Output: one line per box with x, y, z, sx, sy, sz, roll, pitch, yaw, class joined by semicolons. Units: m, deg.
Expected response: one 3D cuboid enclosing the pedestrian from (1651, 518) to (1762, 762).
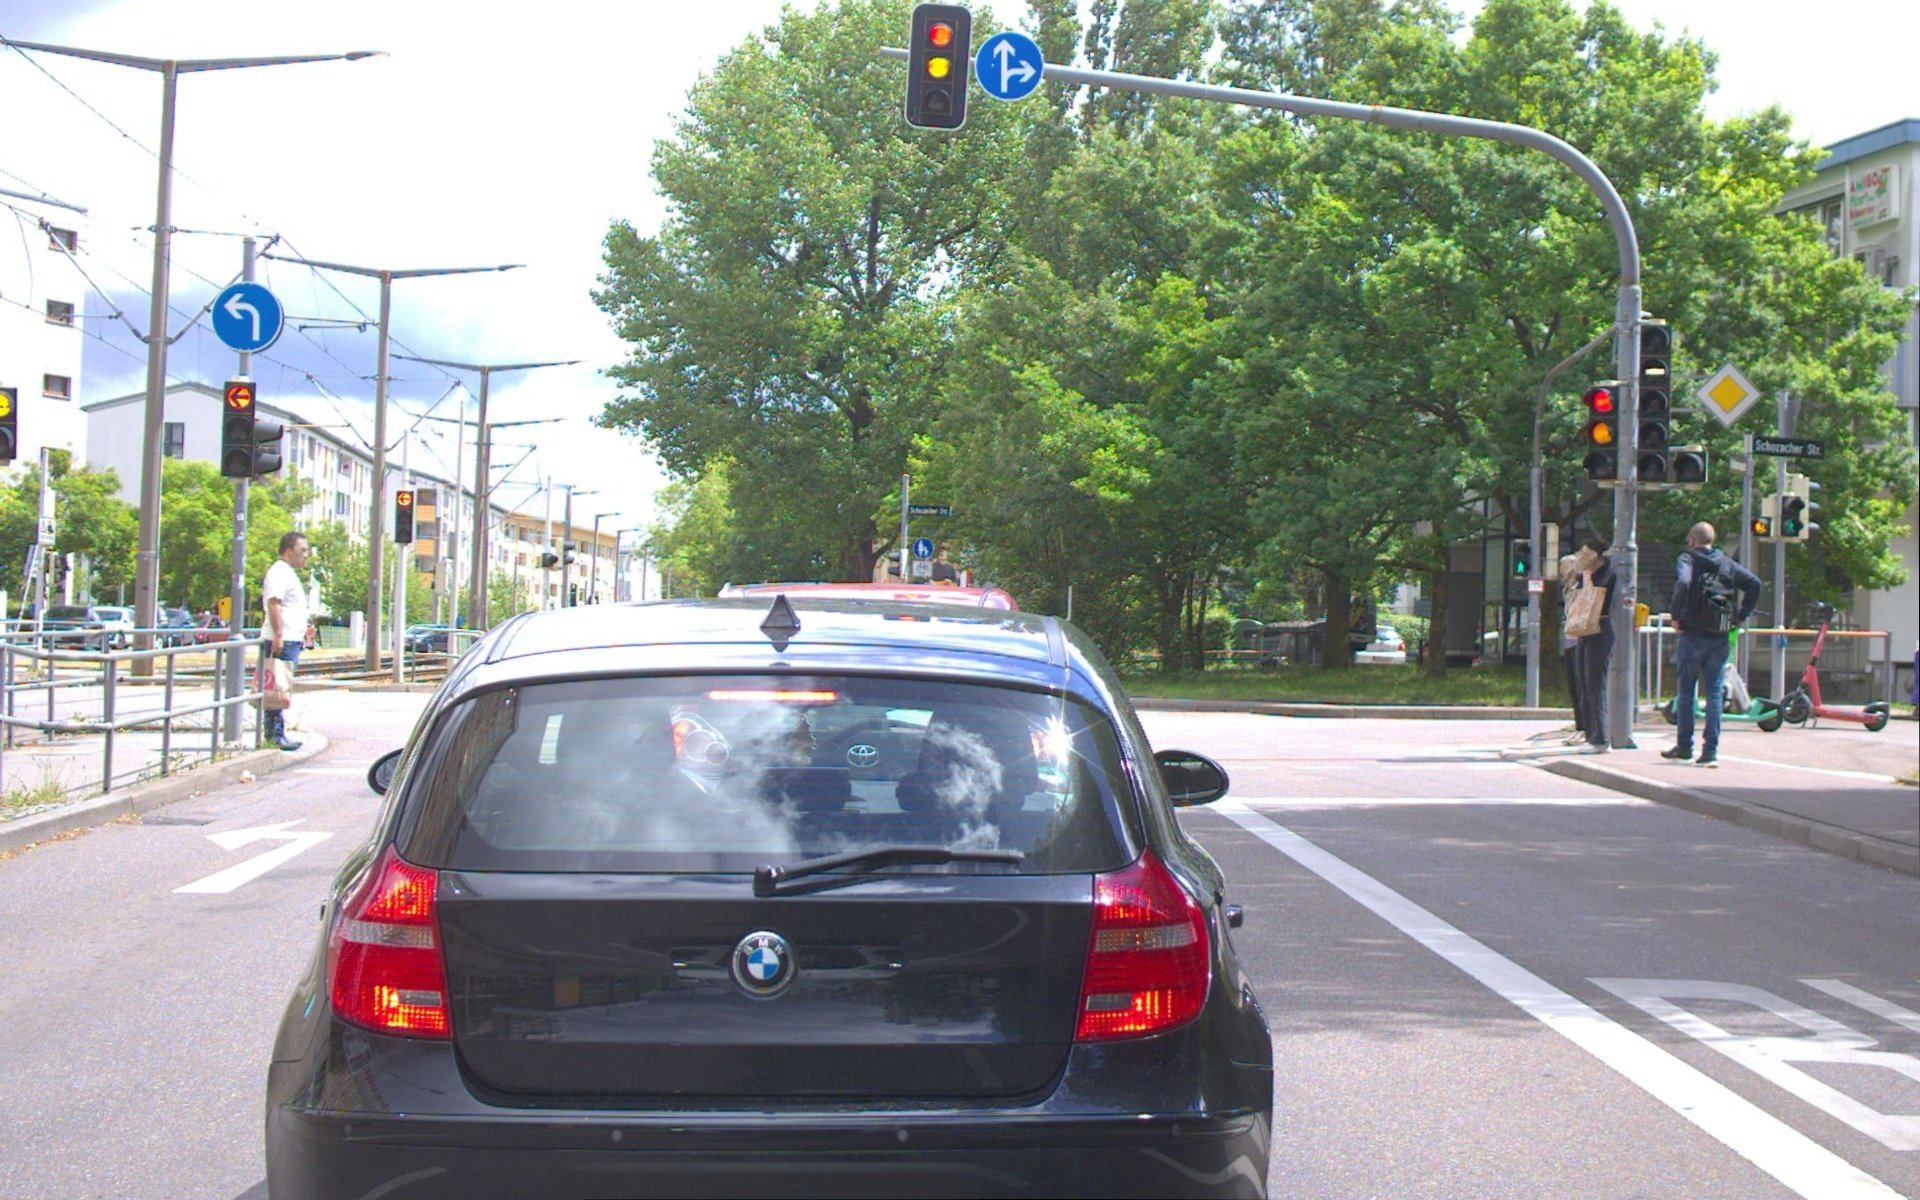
5.864;0.304;26.973;0.796;1.870;1.013;1;0;14;pedestrian

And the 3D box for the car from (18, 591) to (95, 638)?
-29.394;0.459;111.918;1.591;1.469;3.775;1;0;-2;car

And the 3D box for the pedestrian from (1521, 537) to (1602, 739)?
5.334;0.331;30.502;0.636;1.760;0.518;1;0;6;pedestrian

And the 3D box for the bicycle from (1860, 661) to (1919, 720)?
10.538;0.980;36.965;1.589;0.608;0.533;0;1;38;bicycle

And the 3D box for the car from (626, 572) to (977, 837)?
-0.894;0.556;21.099;1.900;1.417;4.539;1;0;-1;car

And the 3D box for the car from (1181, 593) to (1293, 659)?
7.272;0.660;90.685;1.862;1.656;4.001;1;0;-11;car

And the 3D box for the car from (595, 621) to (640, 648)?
-19.465;1.949;195.623;1.652;1.529;3.870;0;0;8;car

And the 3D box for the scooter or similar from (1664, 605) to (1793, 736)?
7.384;0.673;33.045;1.110;1.231;0.539;1;0;2;scooter or similar

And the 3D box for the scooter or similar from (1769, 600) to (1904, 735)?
8.639;0.659;33.920;1.150;1.268;0.555;2;0;2;scooter or similar

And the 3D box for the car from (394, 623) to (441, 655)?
-25.357;1.811;160.753;1.794;1.405;4.001;1;0;-4;car

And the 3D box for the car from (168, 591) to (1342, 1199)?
-0.322;0.703;6.730;1.700;1.395;3.420;1;0;-1;car

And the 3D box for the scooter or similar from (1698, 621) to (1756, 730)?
7.793;0.755;34.901;0.548;1.060;1.261;1;0;13;scooter or similar

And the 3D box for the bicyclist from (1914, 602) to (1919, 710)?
10.547;0.603;36.934;0.399;1.153;0.502;1;0;38;bicyclist

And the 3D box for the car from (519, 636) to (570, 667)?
-21.146;2.613;175.080;1.652;1.529;3.870;1;0;7;car

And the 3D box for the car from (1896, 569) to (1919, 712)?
15.803;0.595;48.571;4.534;2.007;2.000;1;0;-8;car

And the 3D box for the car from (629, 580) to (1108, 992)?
-0.335;0.636;13.633;1.638;1.395;3.420;1;0;-1;car

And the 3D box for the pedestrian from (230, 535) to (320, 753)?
-5.508;0.348;27.634;0.687;1.728;0.688;0;0;-12;pedestrian

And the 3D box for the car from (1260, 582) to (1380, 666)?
8.319;0.544;79.763;1.726;1.865;4.001;1;0;-9;car

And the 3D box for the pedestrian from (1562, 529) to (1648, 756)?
5.377;0.350;28.683;0.636;1.870;0.518;1;0;6;pedestrian
